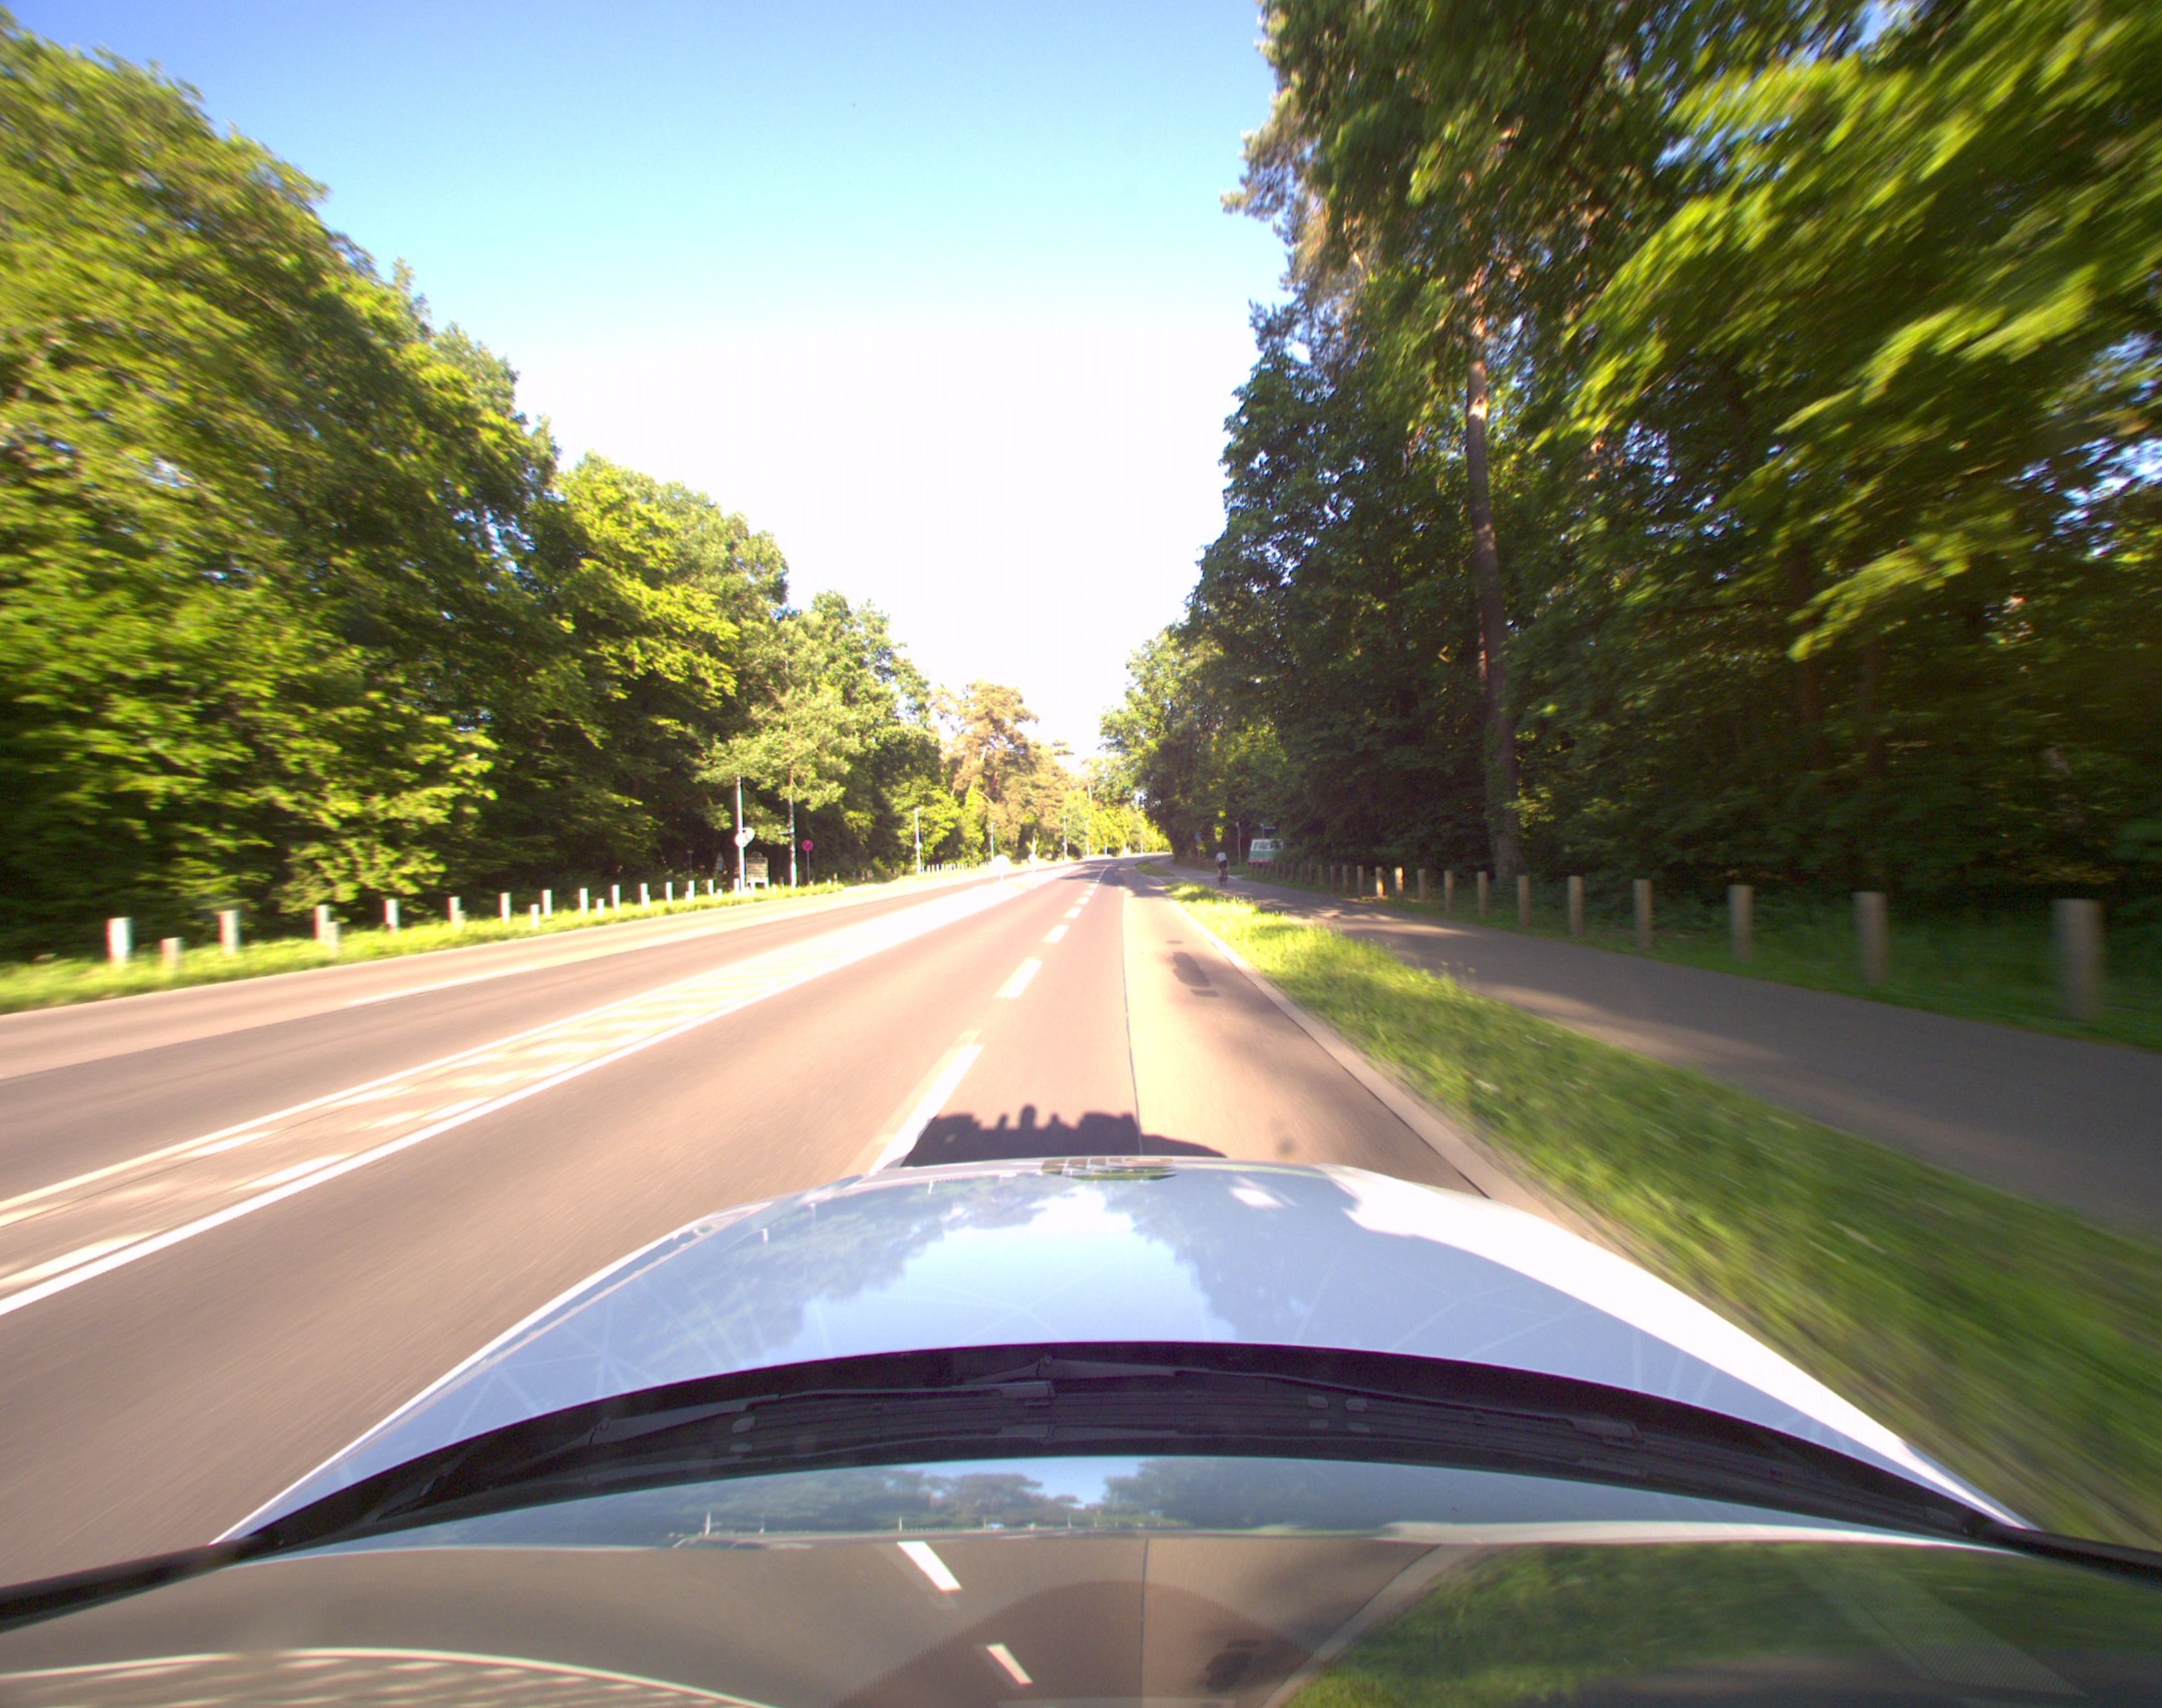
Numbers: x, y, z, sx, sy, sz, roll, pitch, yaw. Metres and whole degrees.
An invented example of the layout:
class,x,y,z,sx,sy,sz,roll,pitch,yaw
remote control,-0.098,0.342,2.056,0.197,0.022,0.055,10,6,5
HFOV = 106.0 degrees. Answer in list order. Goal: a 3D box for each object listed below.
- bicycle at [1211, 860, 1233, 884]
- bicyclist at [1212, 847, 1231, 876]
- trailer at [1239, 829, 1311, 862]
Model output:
class,x,y,z,sx,sy,sz,roll,pitch,yaw
bicycle,6.377,0.800,37.002,0.709,1.055,2.054,-1,0,3
bicyclist,6.366,0.341,36.934,0.709,1.288,1.105,-1,0,3
trailer,12.879,-0.536,54.221,4.174,2.021,2.012,-2,0,43
